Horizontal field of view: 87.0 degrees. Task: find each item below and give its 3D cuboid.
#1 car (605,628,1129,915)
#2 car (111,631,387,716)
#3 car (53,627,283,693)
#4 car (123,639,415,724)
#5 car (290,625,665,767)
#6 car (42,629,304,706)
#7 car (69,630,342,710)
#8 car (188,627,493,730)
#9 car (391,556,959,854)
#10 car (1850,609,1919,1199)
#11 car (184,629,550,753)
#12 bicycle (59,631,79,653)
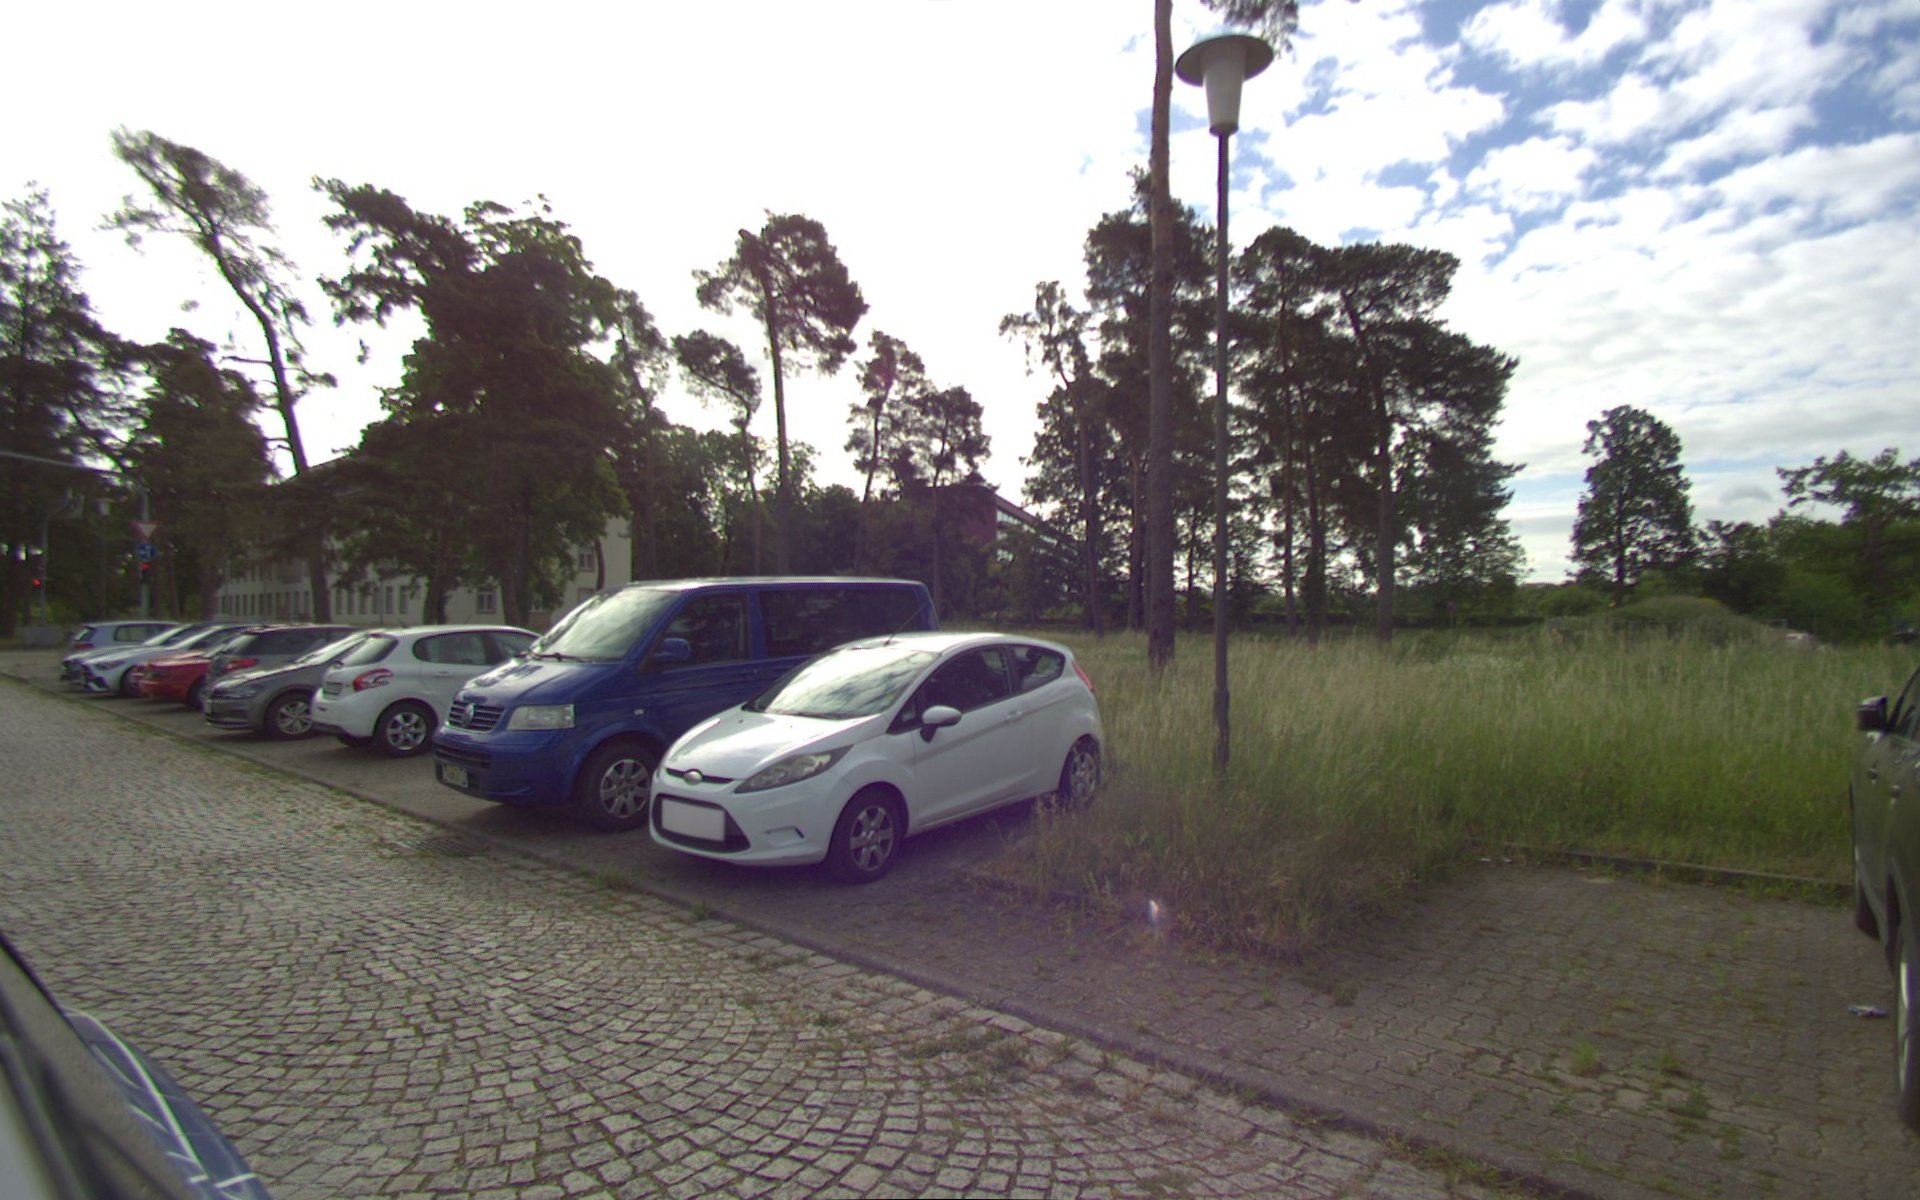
[{"bbox_3d":[-0.450,0.975,7.433,1.724,1.505,3.756,-2,-2,39],"label":"car"},{"bbox_3d":[-14.071,1.375,20.219,1.854,1.466,4.209,-2,-2,41],"label":"car"},{"bbox_3d":[-19.720,1.426,25.334,1.827,1.481,4.282,-1,-1,42],"label":"car"},{"bbox_3d":[-12.456,1.395,18.445,1.763,1.293,4.088,-2,-2,41],"label":"car"},{"bbox_3d":[-6.037,1.087,12.992,1.842,1.513,3.961,-2,-2,43],"label":"car"},{"bbox_3d":[-17.982,1.466,23.330,1.868,1.549,4.458,-1,-1,38],"label":"car"},{"bbox_3d":[-15.951,1.406,21.575,1.949,1.466,4.389,-1,-1,42],"label":"car"},{"bbox_3d":[-10.226,1.209,16.931,1.755,1.492,4.044,-2,-2,42],"label":"car"},{"bbox_3d":[-2.293,0.757,9.235,2.037,1.995,4.661,-2,-2,40],"label":"car"},{"bbox_3d":[4.420,0.825,3.436,1.953,1.587,4.026,-2,-2,40],"label":"car"},{"bbox_3d":[-8.402,1.187,14.635,1.731,1.492,4.257,-2,-2,43],"label":"car"},{"bbox_3d":[-45.306,2.121,51.466,1.415,1.082,0.491,-1,1,39],"label":"bicycle"}]
